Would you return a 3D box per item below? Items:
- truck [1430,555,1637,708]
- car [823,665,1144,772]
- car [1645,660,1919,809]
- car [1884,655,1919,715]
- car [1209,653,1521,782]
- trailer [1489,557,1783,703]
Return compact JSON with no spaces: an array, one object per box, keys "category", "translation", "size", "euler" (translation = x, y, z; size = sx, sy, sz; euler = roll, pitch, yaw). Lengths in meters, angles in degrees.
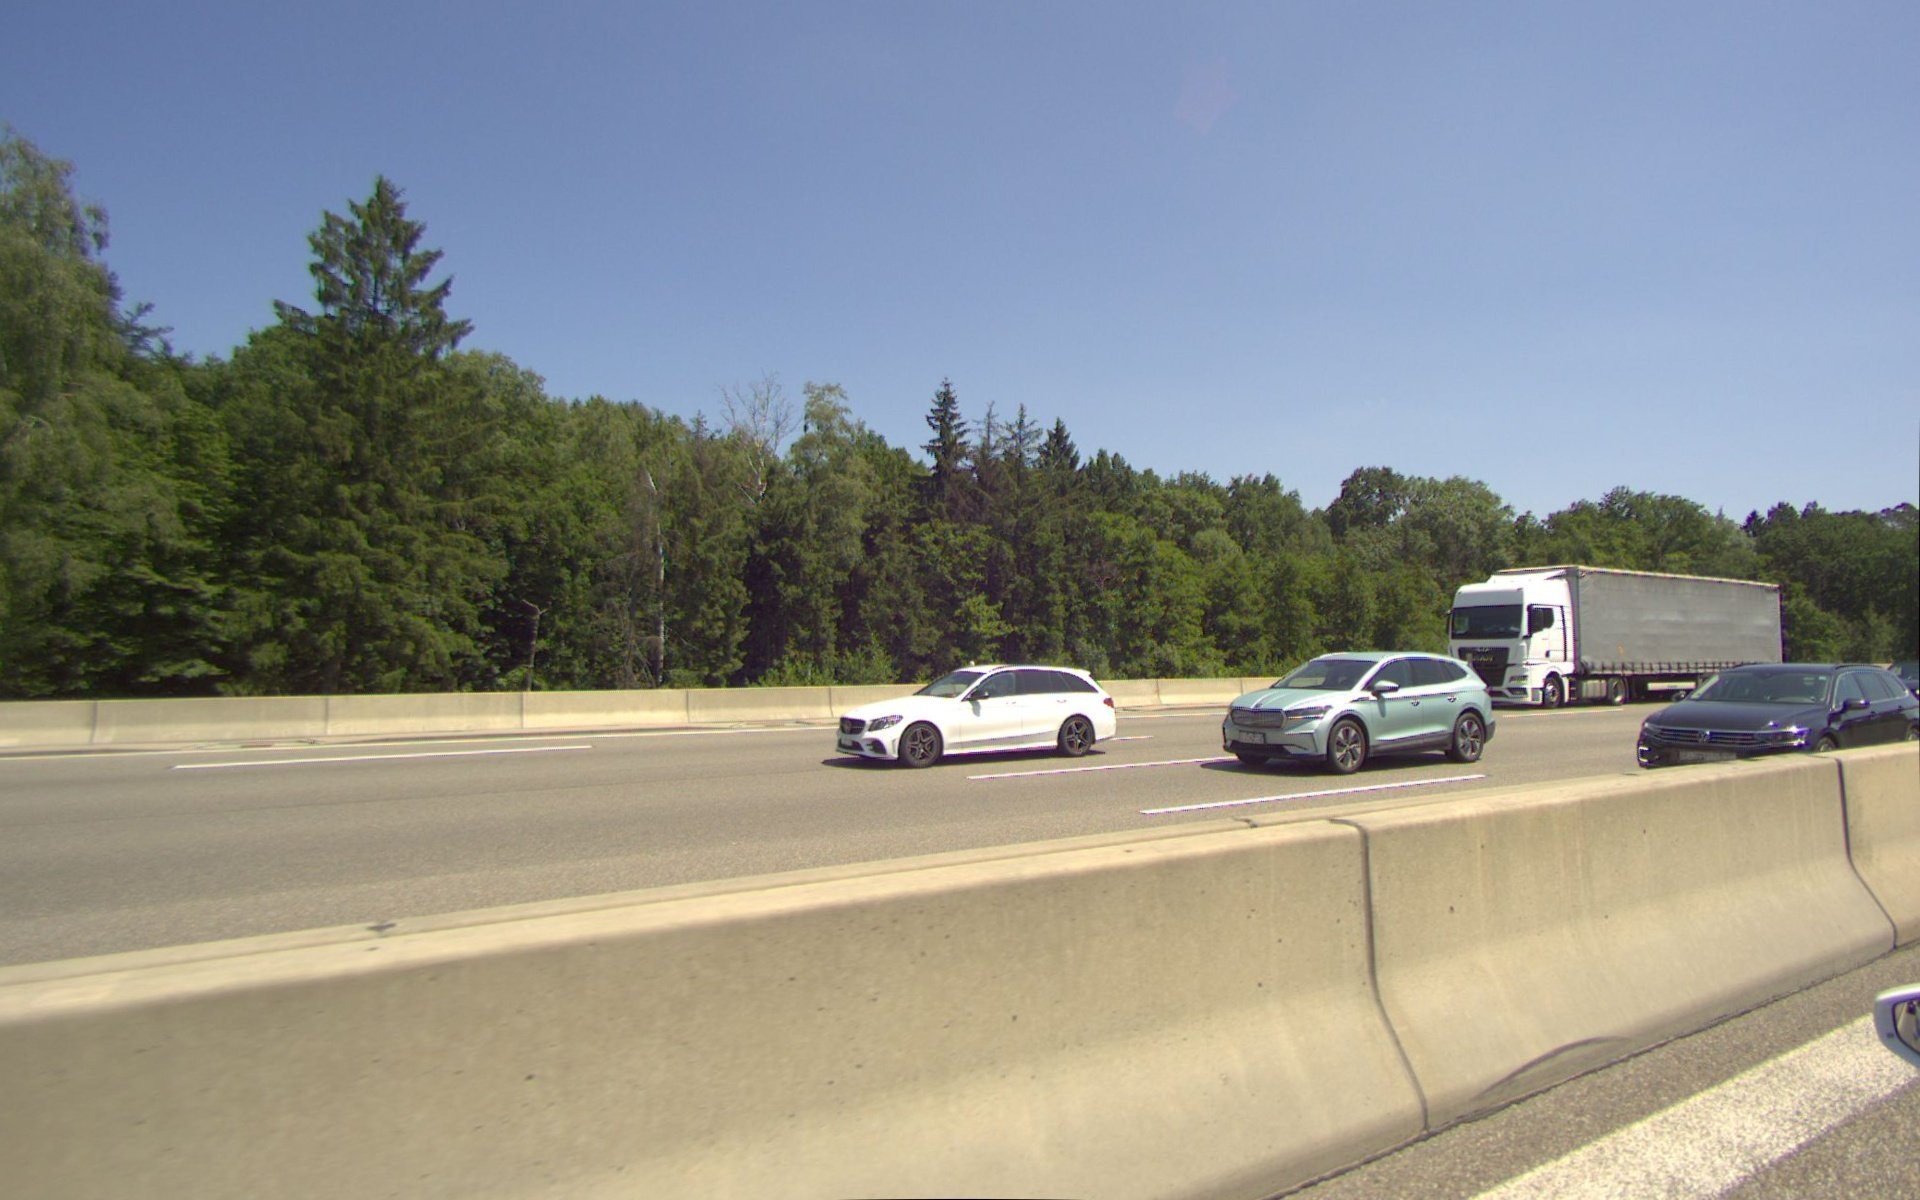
[{"category":"truck","translation":[17.637,1.052,30.822],"size":[6.304,4.275,2.747],"euler":[3,-3,-31]},{"category":"car","translation":[0.447,1.761,15.884],"size":[4.872,1.405,1.842],"euler":[2,-4,-31]},{"category":"car","translation":[10.467,1.568,12.707],"size":[4.026,1.570,1.528],"euler":[2,-2,-33]},{"category":"car","translation":[25.974,2.189,26.197],"size":[4.671,1.461,1.540],"euler":[2,-2,-31]},{"category":"car","translation":[6.092,1.613,14.933],"size":[4.827,1.610,1.809],"euler":[2,-2,-31]},{"category":"trailer","translation":[23.361,1.213,34.234],"size":[13.561,4.301,2.742],"euler":[3,-3,-31]}]
